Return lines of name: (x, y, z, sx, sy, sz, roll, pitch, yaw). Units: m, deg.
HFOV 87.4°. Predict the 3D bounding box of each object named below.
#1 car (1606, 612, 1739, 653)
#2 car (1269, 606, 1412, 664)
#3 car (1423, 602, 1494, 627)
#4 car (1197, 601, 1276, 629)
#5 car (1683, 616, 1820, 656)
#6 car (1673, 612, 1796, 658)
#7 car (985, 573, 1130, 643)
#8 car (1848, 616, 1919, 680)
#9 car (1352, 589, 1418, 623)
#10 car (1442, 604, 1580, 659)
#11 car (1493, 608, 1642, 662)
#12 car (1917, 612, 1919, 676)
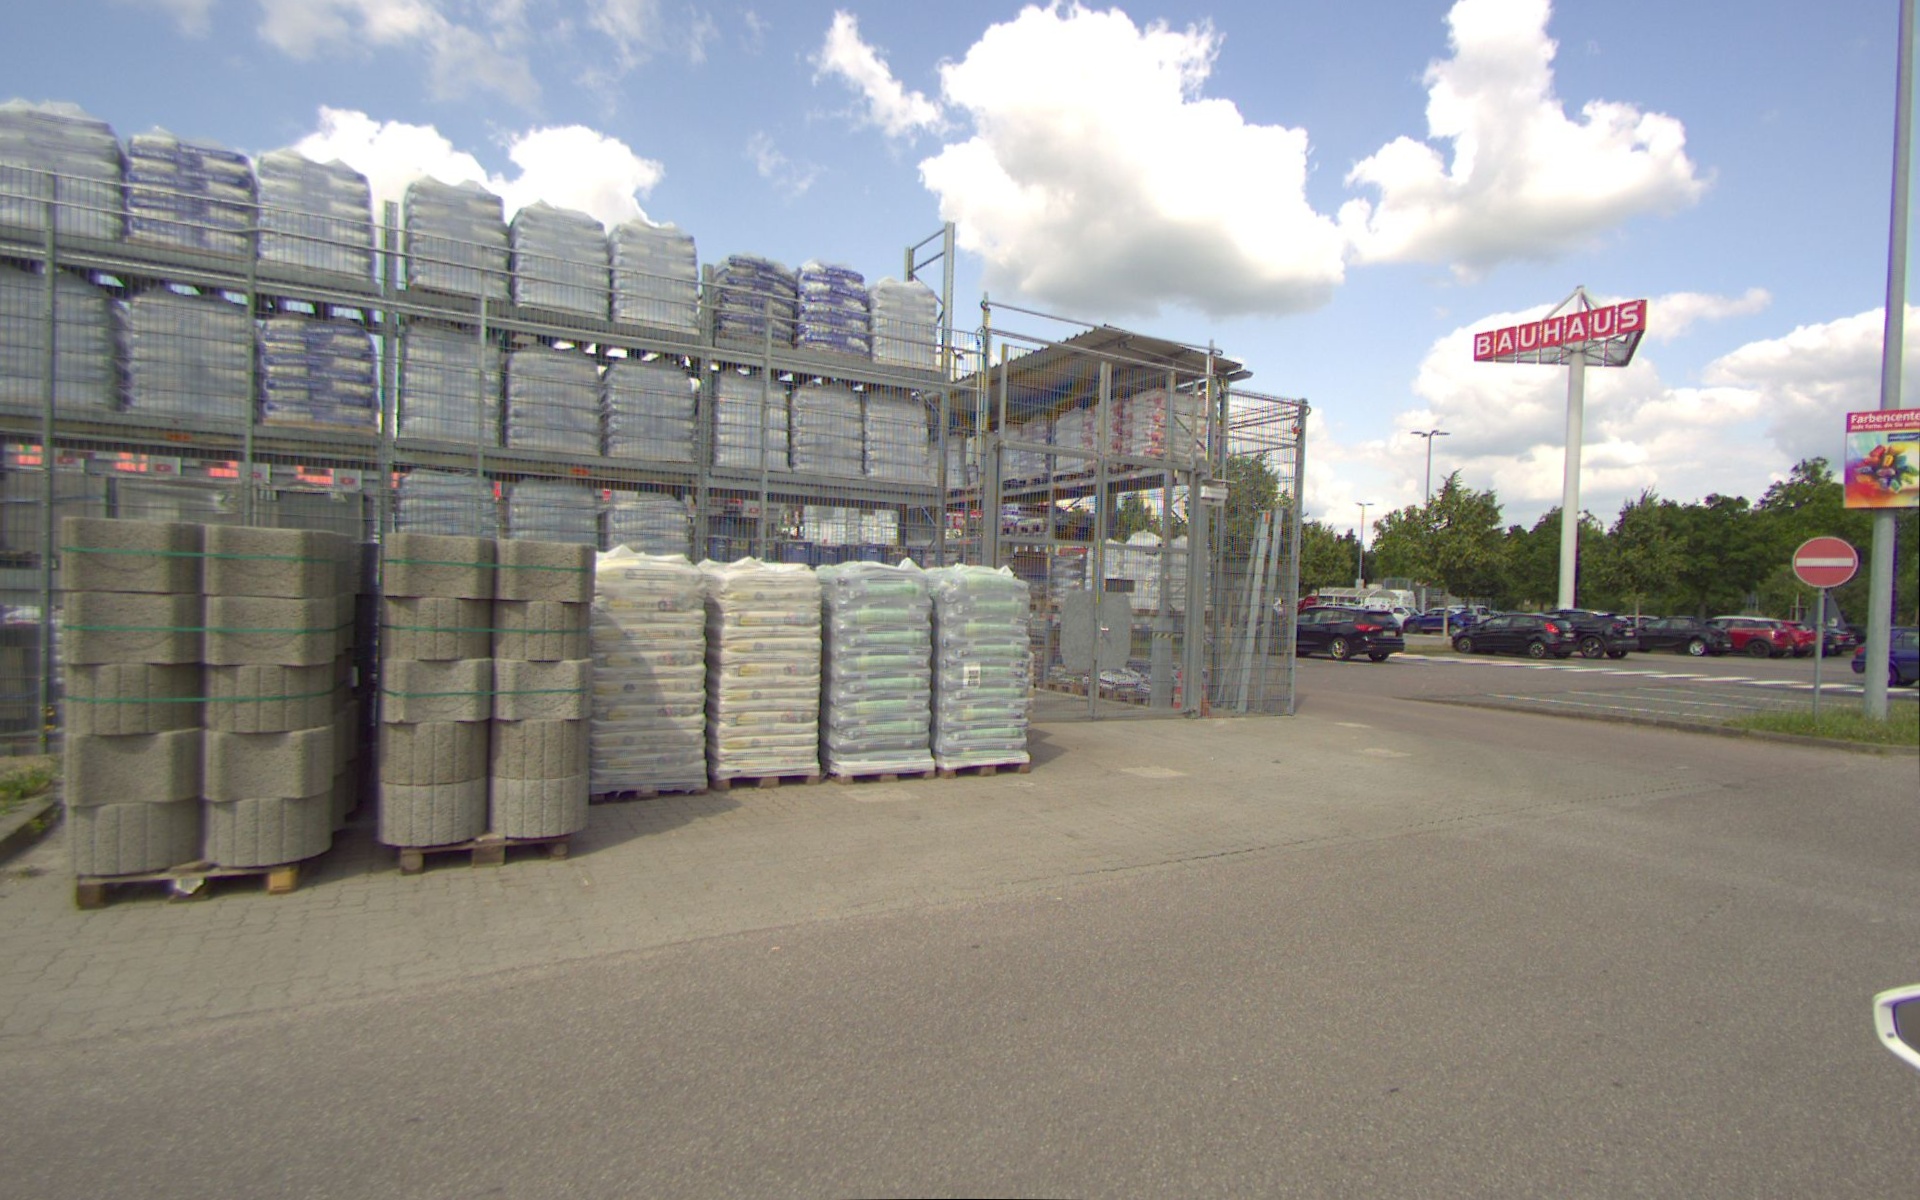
car: (27.699, 1.245, 39.154, 1.710, 1.387, 3.849, 1, 0, -32)
car: (10.606, 0.949, 28.153, 1.792, 1.423, 3.325, 1, 0, -32)
car: (34.239, 0.972, 69.028, 1.889, 1.617, 3.966, 1, 0, -31)
car: (16.354, 0.881, 59.593, 1.977, 1.487, 4.380, 2, 0, -30)
car: (32.385, 1.429, 41.209, 1.747, 1.417, 4.053, 1, 0, -31)
car: (30.416, 1.337, 39.532, 1.690, 1.602, 3.417, 1, 1, -31)
car: (2.967, 0.200, 31.793, 1.976, 2.040, 5.147, 1, 0, -29)
car: (22.285, 1.114, 22.133, 1.602, 1.386, 3.733, 1, 1, -29)
car: (35.134, 0.460, 83.202, 2.028, 2.543, 4.692, 3, 1, -29)
car: (18.533, 1.037, 33.898, 1.766, 1.646, 3.670, 1, 1, -35)
car: (20.914, 1.174, 34.740, 1.763, 1.646, 4.050, 1, 1, -31)
car: (26.467, 1.190, 24.663, 1.714, 1.646, 3.935, 1, 0, -27)
